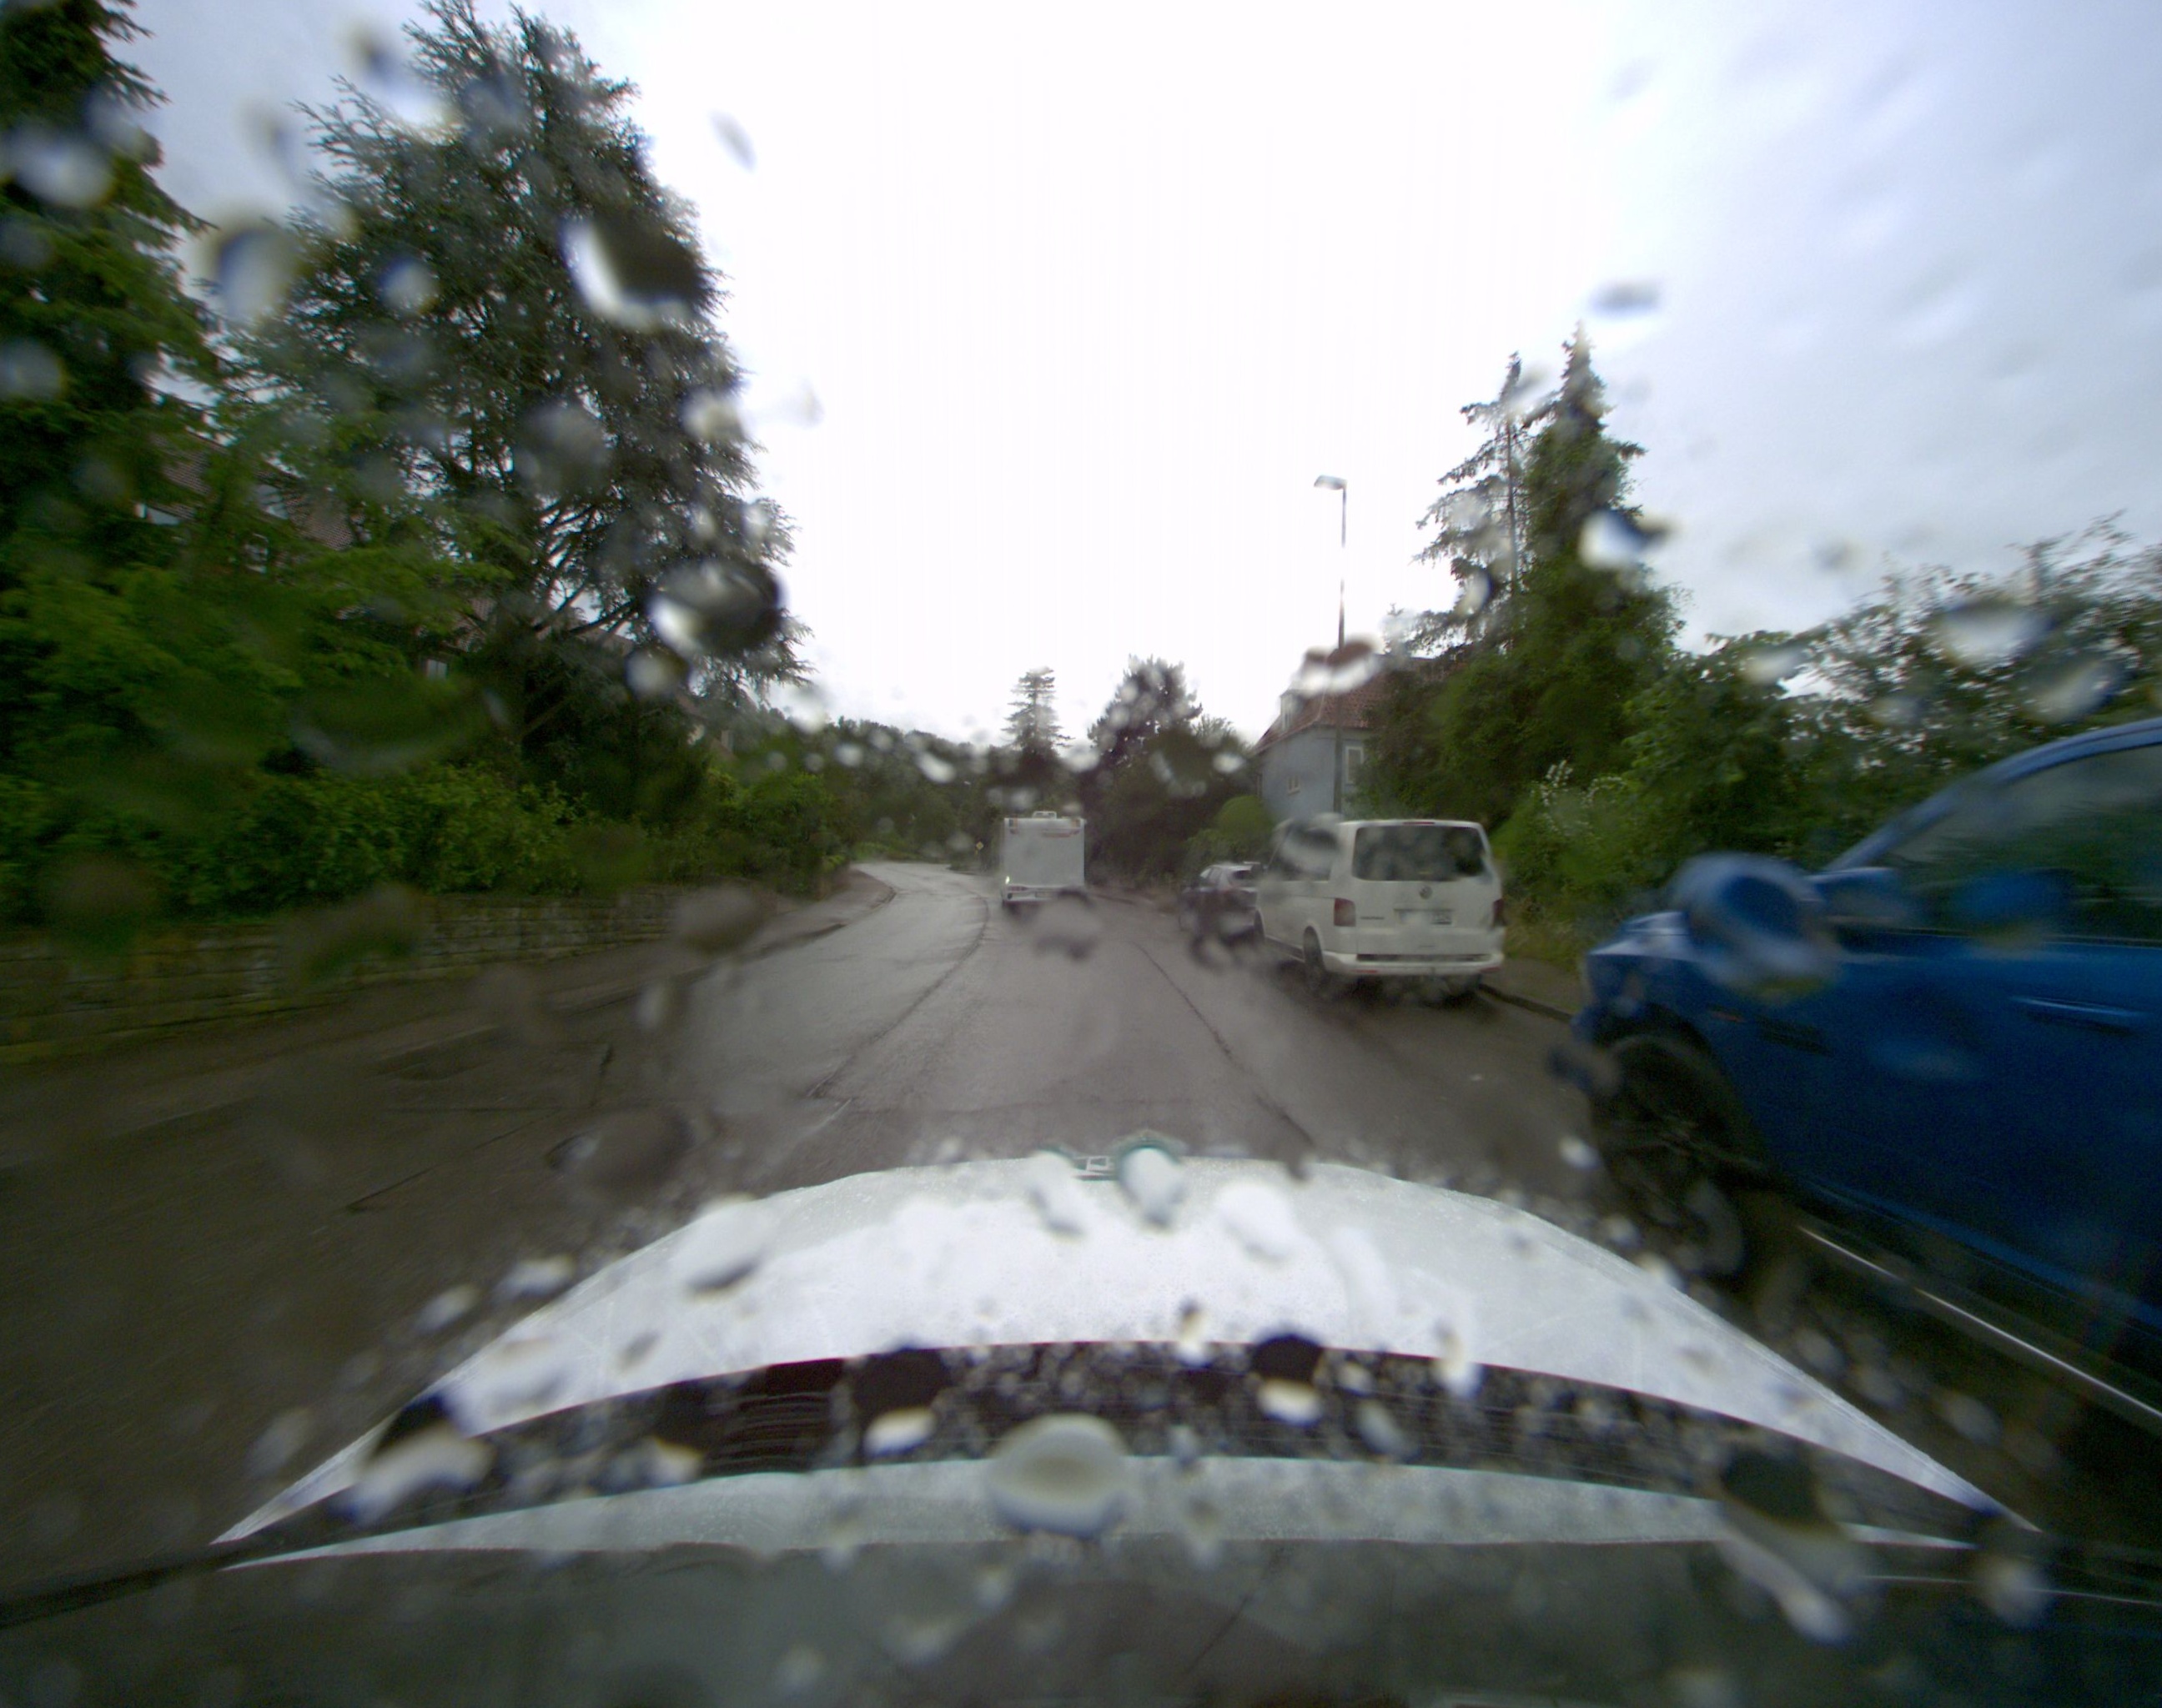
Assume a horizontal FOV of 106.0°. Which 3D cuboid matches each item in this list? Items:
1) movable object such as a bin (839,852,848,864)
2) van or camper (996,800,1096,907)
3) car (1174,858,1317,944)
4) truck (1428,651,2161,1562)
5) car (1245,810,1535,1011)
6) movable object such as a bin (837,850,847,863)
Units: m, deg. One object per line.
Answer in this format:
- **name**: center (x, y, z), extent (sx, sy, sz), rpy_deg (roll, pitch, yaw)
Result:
- **movable object such as a bin**: center (-21.891, 0.340, 75.089), extent (0.744, 1.094, 0.752), rpy_deg (2, -1, -21)
- **van or camper**: center (-1.256, 0.067, 25.276), extent (2.613, 2.853, 6.016), rpy_deg (1, -2, -7)
- **car**: center (3.097, 0.826, 16.166), extent (1.683, 1.457, 4.049), rpy_deg (1, 0, -6)
- **truck**: center (3.269, 0.537, 1.963), extent (2.106, 1.852, 6.619), rpy_deg (2, 0, 1)
- **car**: center (3.515, 0.549, 10.449), extent (1.853, 1.921, 5.080), rpy_deg (1, 0, 1)
- **movable object such as a bin**: center (-22.297, 0.240, 75.952), extent (0.744, 1.253, 0.752), rpy_deg (2, -1, -21)
